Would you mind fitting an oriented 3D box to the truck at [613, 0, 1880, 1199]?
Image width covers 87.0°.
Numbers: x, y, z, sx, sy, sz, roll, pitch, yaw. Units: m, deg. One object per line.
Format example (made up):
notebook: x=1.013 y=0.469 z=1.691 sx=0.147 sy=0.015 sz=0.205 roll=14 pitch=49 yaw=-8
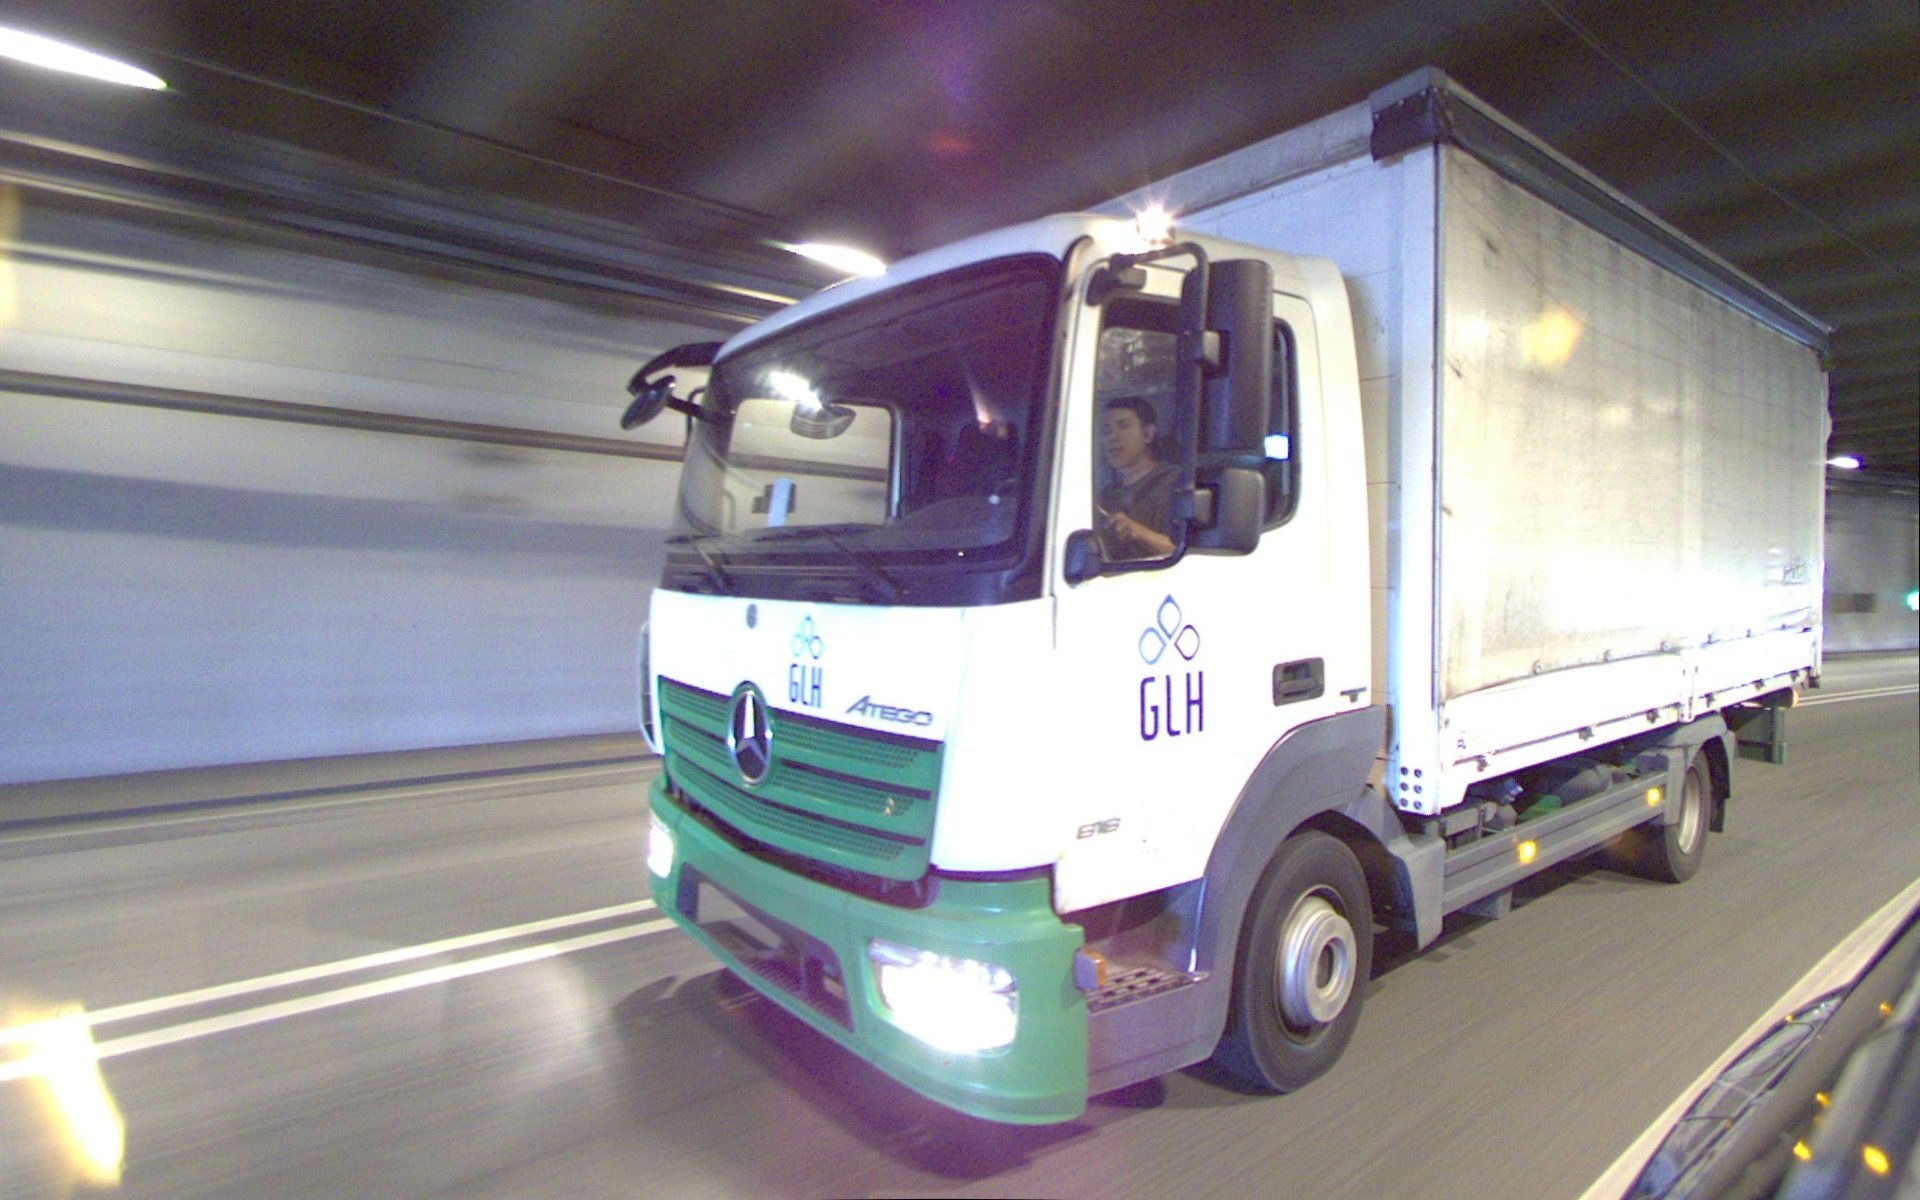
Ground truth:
truck: x=2.272 y=-0.252 z=5.288 sx=7.282 sy=3.280 sz=2.635 roll=-1 pitch=0 yaw=-39
